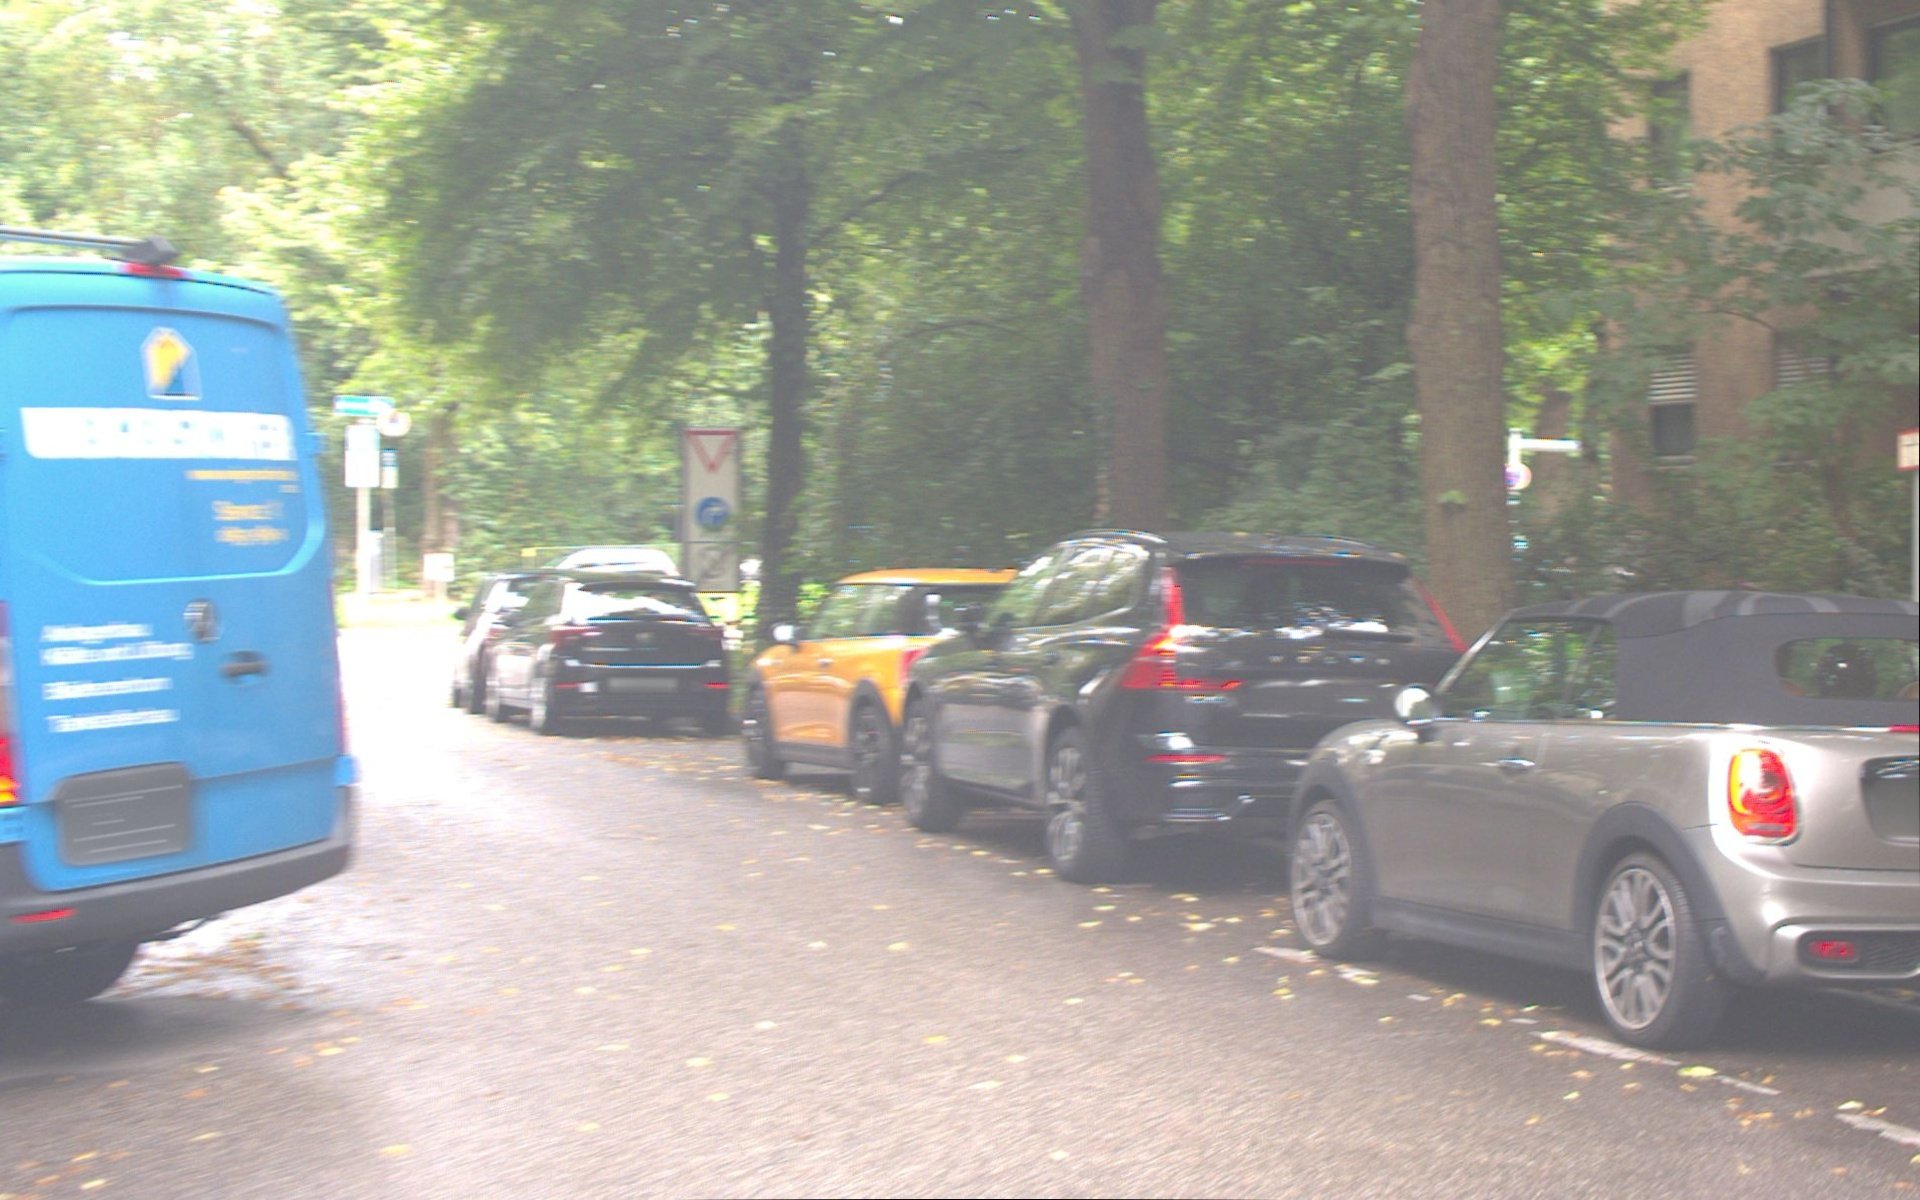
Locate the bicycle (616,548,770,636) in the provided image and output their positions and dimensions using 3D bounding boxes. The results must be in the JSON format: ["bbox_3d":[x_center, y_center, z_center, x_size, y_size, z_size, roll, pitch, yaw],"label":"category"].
[{"bbox_3d":[-3.067,-0.097,39.473,1.752,0.978,0.273,-1,1,-6],"label":"bicycle"}]

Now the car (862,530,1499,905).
[{"bbox_3d":[0.928,0.462,17.321,1.831,1.623,4.527,0,1,-15],"label":"car"}]

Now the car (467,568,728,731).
[{"bbox_3d":[-3.391,0.408,31.564,1.681,1.353,4.010,0,1,-16],"label":"car"}]

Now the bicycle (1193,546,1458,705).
[{"bbox_3d":[2.605,0.168,24.461,1.829,1.080,0.547,-1,1,-23],"label":"bicycle"}]

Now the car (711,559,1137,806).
[{"bbox_3d":[-0.329,0.460,22.189,1.618,1.407,3.781,0,1,-19],"label":"car"}]

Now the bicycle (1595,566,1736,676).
[{"bbox_3d":[7.011,0.194,34.237,0.554,1.040,1.837,-1,1,-17],"label":"bicycle"}]

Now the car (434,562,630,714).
[{"bbox_3d":[-4.488,0.349,35.678,1.647,1.469,3.644,0,1,-13],"label":"car"}]

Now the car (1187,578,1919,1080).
[{"bbox_3d":[2.492,0.657,12.474,1.898,1.408,4.431,-2,1,-16],"label":"car"}]

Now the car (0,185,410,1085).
[{"bbox_3d":[-4.708,0.172,10.841,5.483,2.346,2.064,-2,0,20],"label":"car"}]
